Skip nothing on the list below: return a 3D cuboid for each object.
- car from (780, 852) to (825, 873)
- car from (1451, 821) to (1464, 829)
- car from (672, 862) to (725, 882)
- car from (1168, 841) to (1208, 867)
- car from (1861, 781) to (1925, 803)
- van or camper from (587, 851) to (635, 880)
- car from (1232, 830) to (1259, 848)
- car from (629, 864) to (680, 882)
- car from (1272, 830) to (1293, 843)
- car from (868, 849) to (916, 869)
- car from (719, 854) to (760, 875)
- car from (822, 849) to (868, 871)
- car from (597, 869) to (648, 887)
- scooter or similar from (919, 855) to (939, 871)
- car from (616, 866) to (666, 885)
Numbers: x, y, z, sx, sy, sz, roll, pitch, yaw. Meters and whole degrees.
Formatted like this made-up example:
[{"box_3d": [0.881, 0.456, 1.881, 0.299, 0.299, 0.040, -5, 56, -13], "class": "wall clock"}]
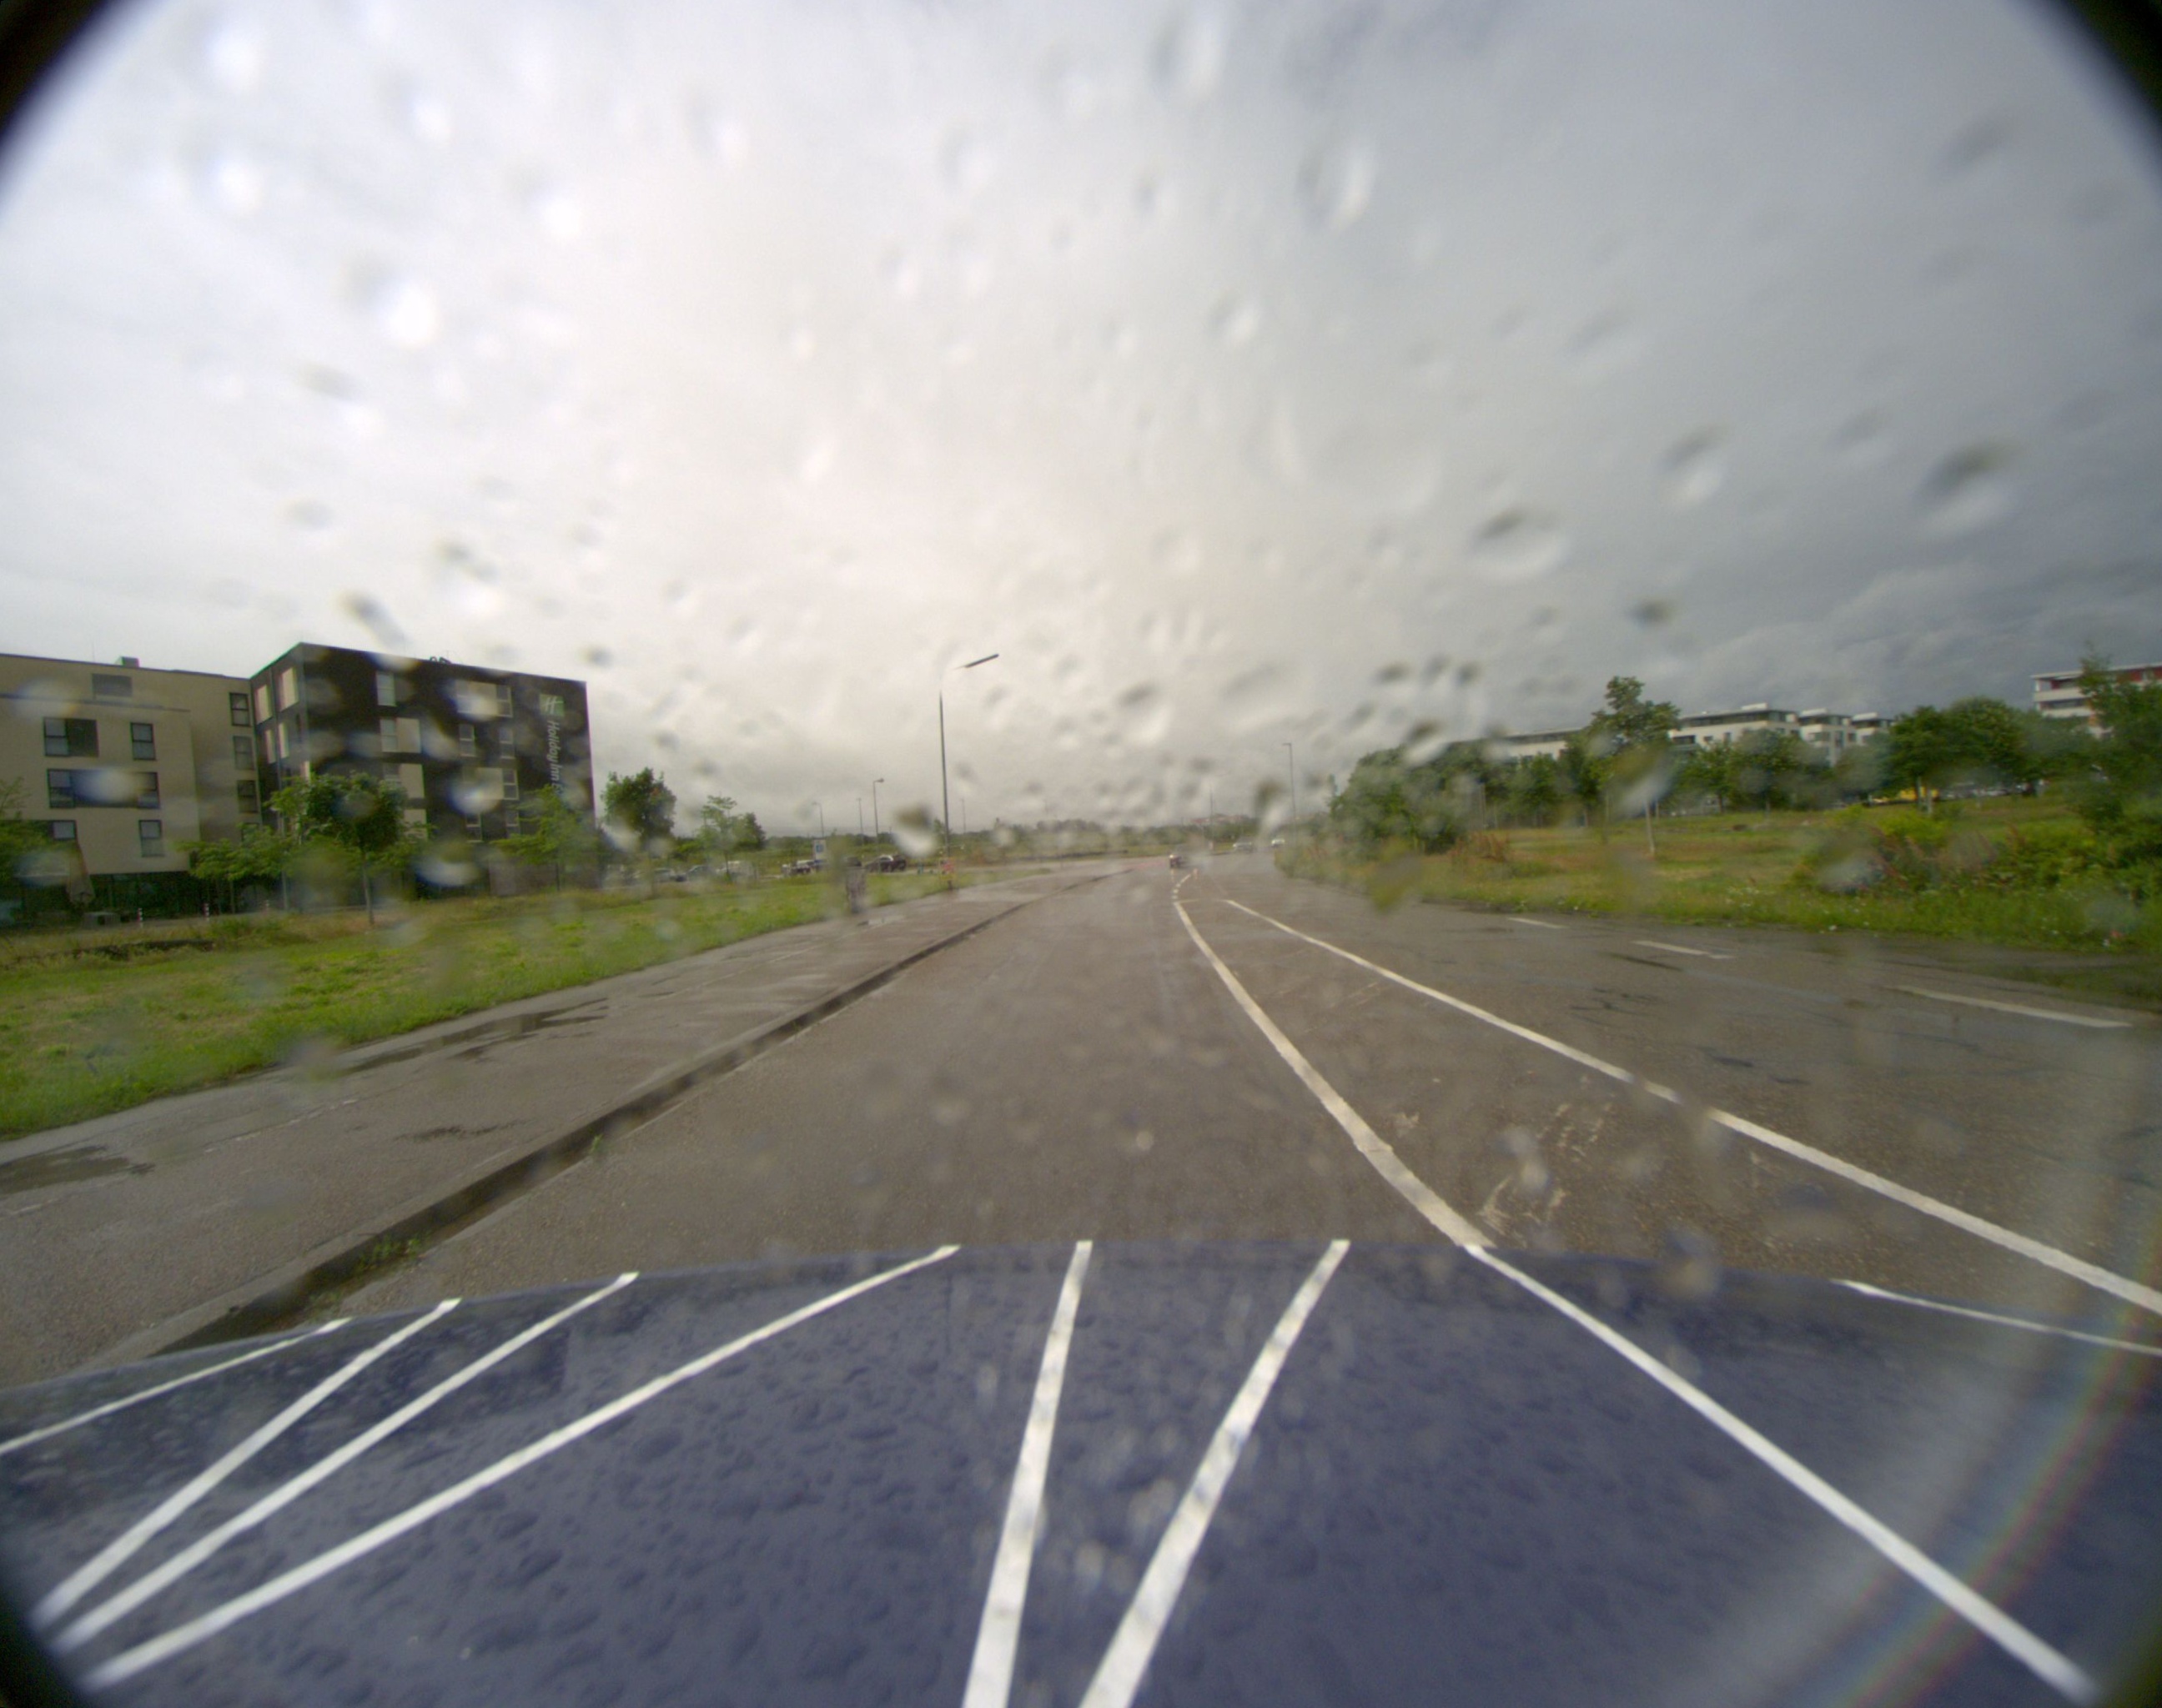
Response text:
[{"box_3d": [-28.300, 0.840, 77.132, 3.991, 1.631, 2.003, -6, -1, 29], "class": "car"}, {"box_3d": [71.069, -5.523, 143.492, 1.685, 1.388, 4.133, -5, 1, 21], "class": "car"}, {"box_3d": [-34.940, 1.631, 69.435, 1.781, 1.518, 3.849, -6, -1, 32], "class": "car"}, {"box_3d": [6.989, -0.058, 49.197, 1.871, 1.510, 4.362, -1, 2, 18], "class": "car"}, {"box_3d": [129.050, -9.814, 120.814, 6.626, 2.599, 1.969, -5, 1, 26], "class": "car"}, {"box_3d": [-62.735, 1.521, 101.406, 6.785, 3.182, 2.534, -6, -1, 33], "class": "van or camper"}, {"box_3d": [16.696, -1.520, 76.818, 2.007, 1.696, 4.334, -3, 1, 20], "class": "car"}, {"box_3d": [-41.236, 1.845, 73.565, 1.764, 1.387, 3.814, -6, -1, 32], "class": "car"}, {"box_3d": [26.271, -2.336, 99.017, 1.839, 1.510, 4.363, -3, 1, 25], "class": "car"}, {"box_3d": [-17.785, 0.485, 71.403, 3.990, 1.609, 2.002, -3, 4, 29], "class": "car"}, {"box_3d": [-37.754, 1.141, 84.006, 4.328, 1.761, 2.003, -9, -2, 34], "class": "car"}, {"box_3d": [-23.100, 0.557, 74.293, 3.991, 1.717, 2.003, -6, -1, 29], "class": "car"}, {"box_3d": [-45.795, 2.385, 75.890, 1.781, 1.387, 3.849, -6, -1, 32], "class": "car"}, {"box_3d": [-11.150, 0.660, 55.715, 1.283, 1.180, 0.503, -2, 0, 3], "class": "scooter or similar"}, {"box_3d": [-43.249, 2.090, 74.710, 1.639, 1.388, 3.787, -5, 1, 33], "class": "car"}]
